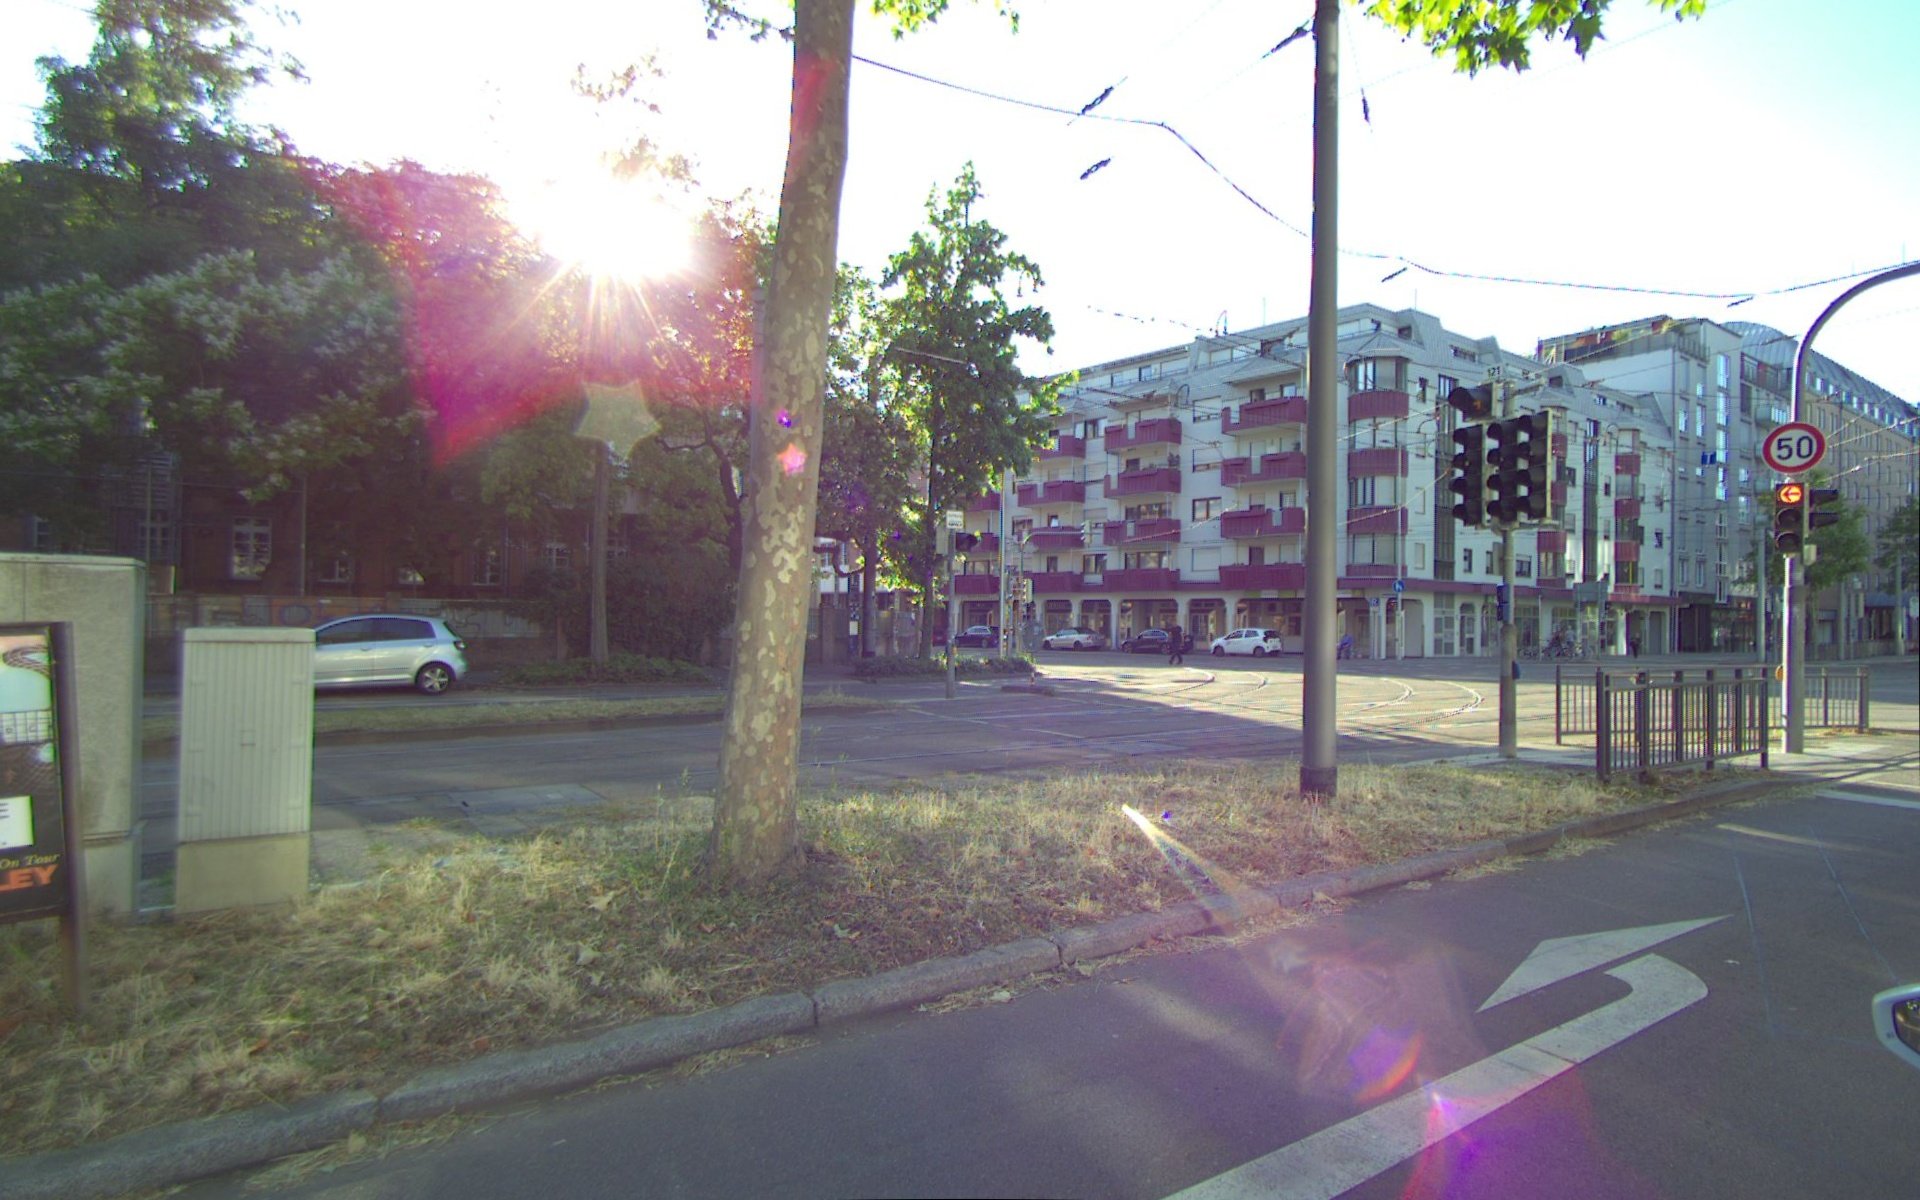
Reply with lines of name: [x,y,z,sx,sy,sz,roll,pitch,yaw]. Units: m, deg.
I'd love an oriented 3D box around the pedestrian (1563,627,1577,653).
pedestrian: [35.399,2.318,58.270,0.582,1.514,0.530,1,-1,-38]

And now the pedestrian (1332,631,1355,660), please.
pedestrian: [19.027,2.243,49.830,0.848,1.402,0.831,0,-1,45]

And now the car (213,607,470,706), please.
car: [-12.007,1.034,19.580,4.062,1.641,2.065,2,1,-38]

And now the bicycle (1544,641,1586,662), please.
bicycle: [31.430,2.662,52.205,0.548,0.998,1.830,1,-1,-36]

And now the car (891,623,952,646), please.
car: [-2.804,2.430,72.207,1.986,1.576,4.527,2,-2,-42]

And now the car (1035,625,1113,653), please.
car: [6.895,2.337,61.197,1.986,1.576,4.527,2,-2,-42]

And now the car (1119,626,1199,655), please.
car: [11.168,2.256,56.610,1.986,1.576,4.072,2,-2,-42]

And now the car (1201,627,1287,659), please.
car: [14.897,2.232,52.766,1.986,1.576,3.950,2,-2,-42]

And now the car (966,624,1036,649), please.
car: [2.680,2.400,66.289,1.986,1.576,4.527,2,-2,-42]

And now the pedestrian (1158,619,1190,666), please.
pedestrian: [8.286,1.647,38.854,1.010,1.775,0.728,1,-1,-38]

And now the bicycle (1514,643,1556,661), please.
bicycle: [29.499,2.675,51.530,0.547,0.865,1.833,1,-1,-32]

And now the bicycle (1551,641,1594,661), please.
bicycle: [31.986,2.651,52.455,0.548,0.998,1.830,1,-1,-36]

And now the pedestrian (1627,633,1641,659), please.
pedestrian: [40.013,2.725,59.631,0.682,1.564,1.047,0,-1,32]

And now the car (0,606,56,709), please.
car: [-16.958,0.863,15.407,4.418,1.522,2.065,2,1,-38]

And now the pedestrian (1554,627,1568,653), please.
pedestrian: [35.138,2.313,58.766,0.582,1.514,0.530,1,-1,-38]

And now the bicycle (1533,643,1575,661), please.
bicycle: [30.417,2.671,51.451,0.547,0.865,1.833,1,-1,-32]
